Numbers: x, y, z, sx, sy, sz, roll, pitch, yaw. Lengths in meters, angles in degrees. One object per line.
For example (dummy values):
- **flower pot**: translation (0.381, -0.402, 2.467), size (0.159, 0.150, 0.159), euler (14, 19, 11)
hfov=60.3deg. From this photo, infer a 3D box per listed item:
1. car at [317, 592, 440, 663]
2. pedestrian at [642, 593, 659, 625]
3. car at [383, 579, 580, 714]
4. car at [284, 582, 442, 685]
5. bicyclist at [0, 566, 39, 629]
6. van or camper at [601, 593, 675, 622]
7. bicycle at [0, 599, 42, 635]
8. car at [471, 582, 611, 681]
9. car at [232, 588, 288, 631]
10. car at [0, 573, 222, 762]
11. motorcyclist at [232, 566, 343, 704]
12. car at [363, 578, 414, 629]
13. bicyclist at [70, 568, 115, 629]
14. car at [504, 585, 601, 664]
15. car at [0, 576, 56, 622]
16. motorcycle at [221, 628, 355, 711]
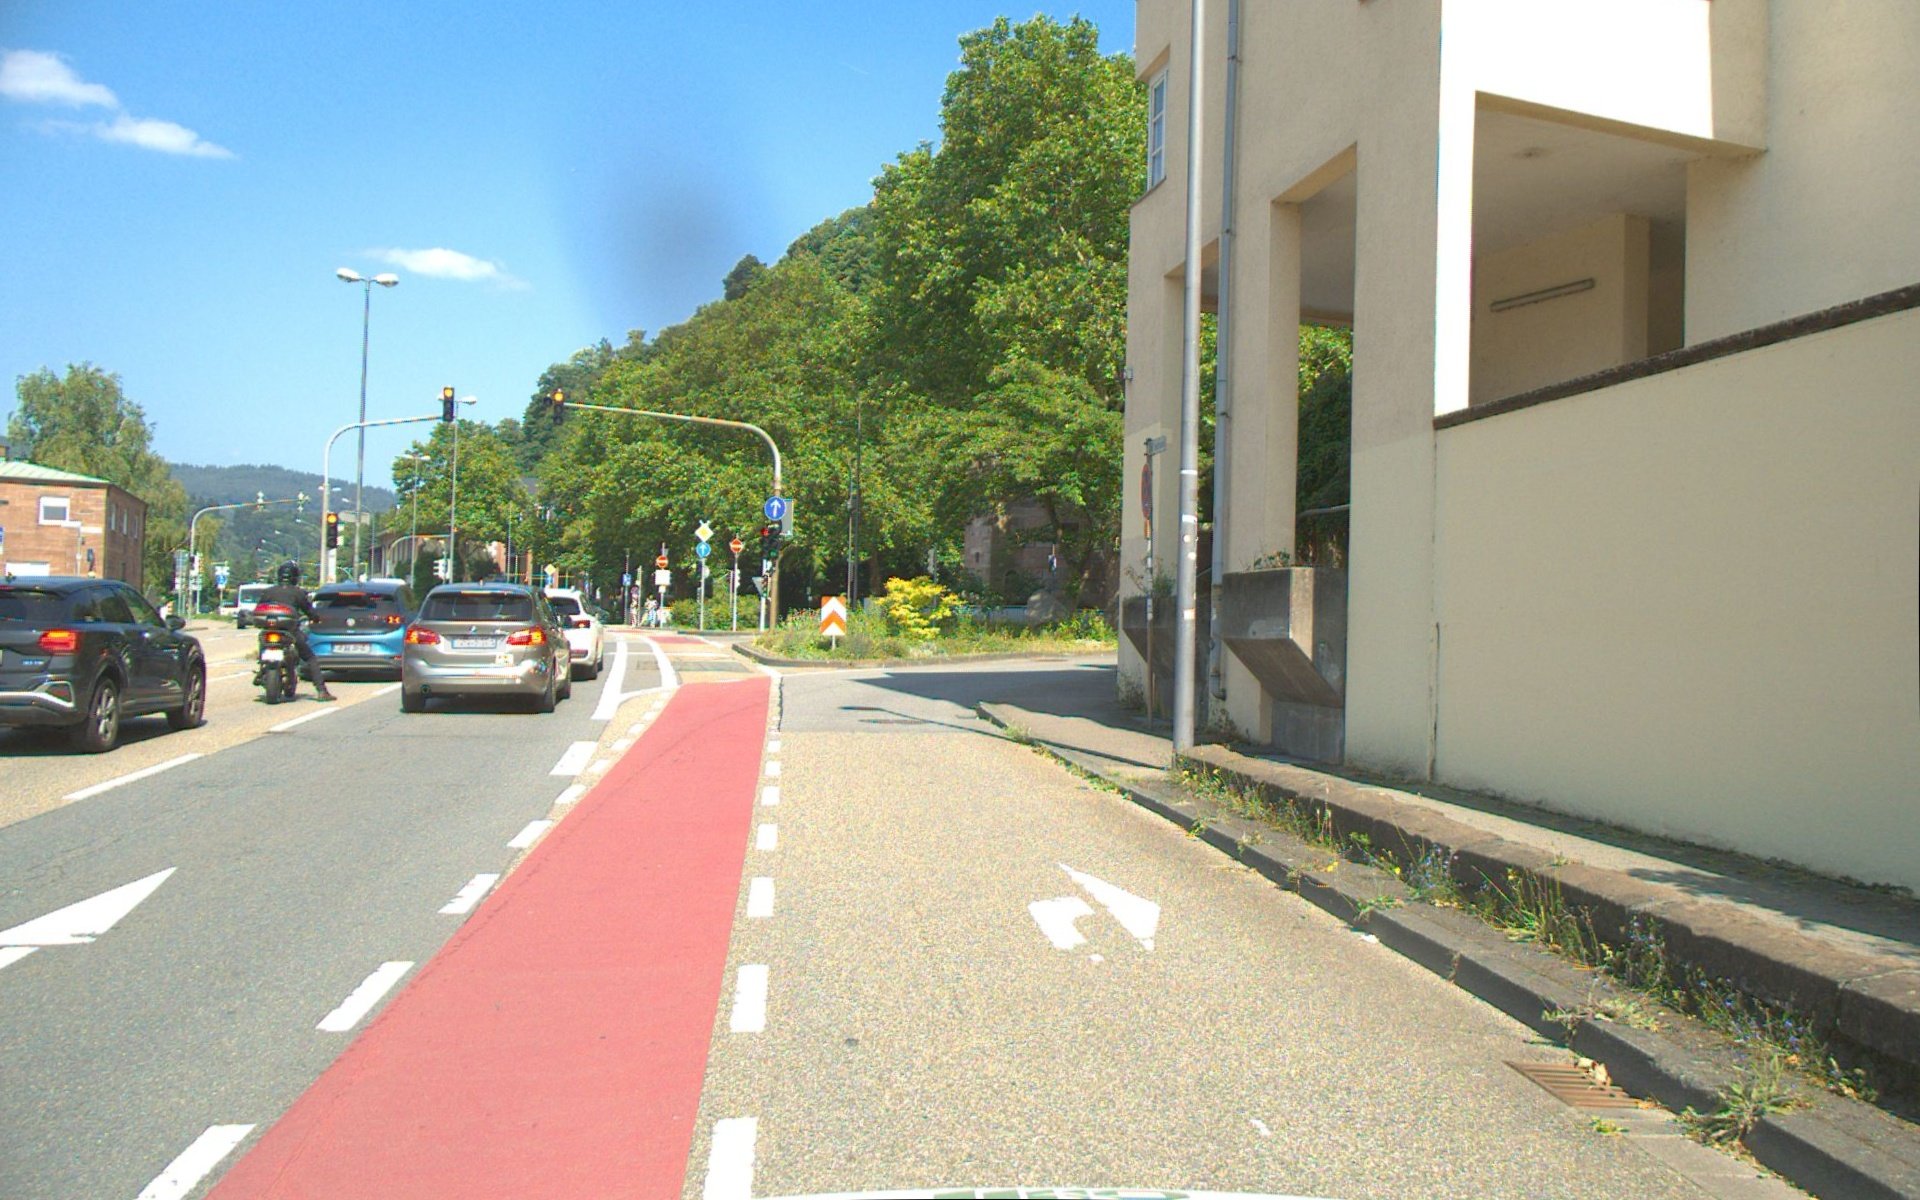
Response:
- **car**: translation (-12.173, 0.541, 34.834), size (1.833, 1.382, 3.990), euler (0, 0, -11)
- **pedestrian**: translation (-16.708, 0.478, 89.294), size (0.746, 1.738, 0.877), euler (0, 0, -3)
- **car**: translation (-6.018, 0.548, 21.270), size (1.853, 1.548, 4.297), euler (1, 0, -9)
- **car**: translation (-9.816, 0.498, 27.470), size (1.833, 1.589, 3.990), euler (0, 0, -11)
- **bicyclist**: translation (-30.938, -0.077, 54.122), size (1.194, 2.049, 1.112), euler (0, 0, -19)
- **van or camper**: translation (-21.548, 0.470, 110.738), size (4.445, 1.935, 2.002), euler (0, 0, 7)
- **bicycle**: translation (-30.890, 0.538, 53.978), size (1.194, 1.109, 2.583), euler (0, 0, -19)
- **car**: translation (-7.146, 0.481, 28.624), size (1.957, 1.560, 4.847), euler (0, 1, -10)
- **car**: translation (-35.875, 0.448, 84.875), size (2.180, 2.115, 5.019), euler (0, 0, -18)
- **car**: translation (-8.463, 0.551, 15.521), size (1.835, 1.540, 4.141), euler (0, 0, -10)
- **motorcyclist**: translation (-8.577, 0.429, 21.148), size (1.056, 1.714, 1.153), euler (0, 0, -9)
- **car**: translation (-30.396, 0.151, 87.837), size (2.349, 2.621, 6.017), euler (0, 0, -21)
- **bicyclist**: translation (-29.683, -0.053, 56.615), size (1.194, 2.049, 1.112), euler (0, 0, -19)
- **car**: translation (-8.650, 0.486, 35.410), size (1.753, 1.559, 4.724), euler (0, 0, -11)
- **car**: translation (-43.019, -0.061, 73.483), size (1.962, 2.049, 4.596), euler (0, 0, 38)
- **motorcycle**: translation (-8.603, 0.865, 21.301), size (1.018, 0.935, 2.600), euler (0, 0, -9)
